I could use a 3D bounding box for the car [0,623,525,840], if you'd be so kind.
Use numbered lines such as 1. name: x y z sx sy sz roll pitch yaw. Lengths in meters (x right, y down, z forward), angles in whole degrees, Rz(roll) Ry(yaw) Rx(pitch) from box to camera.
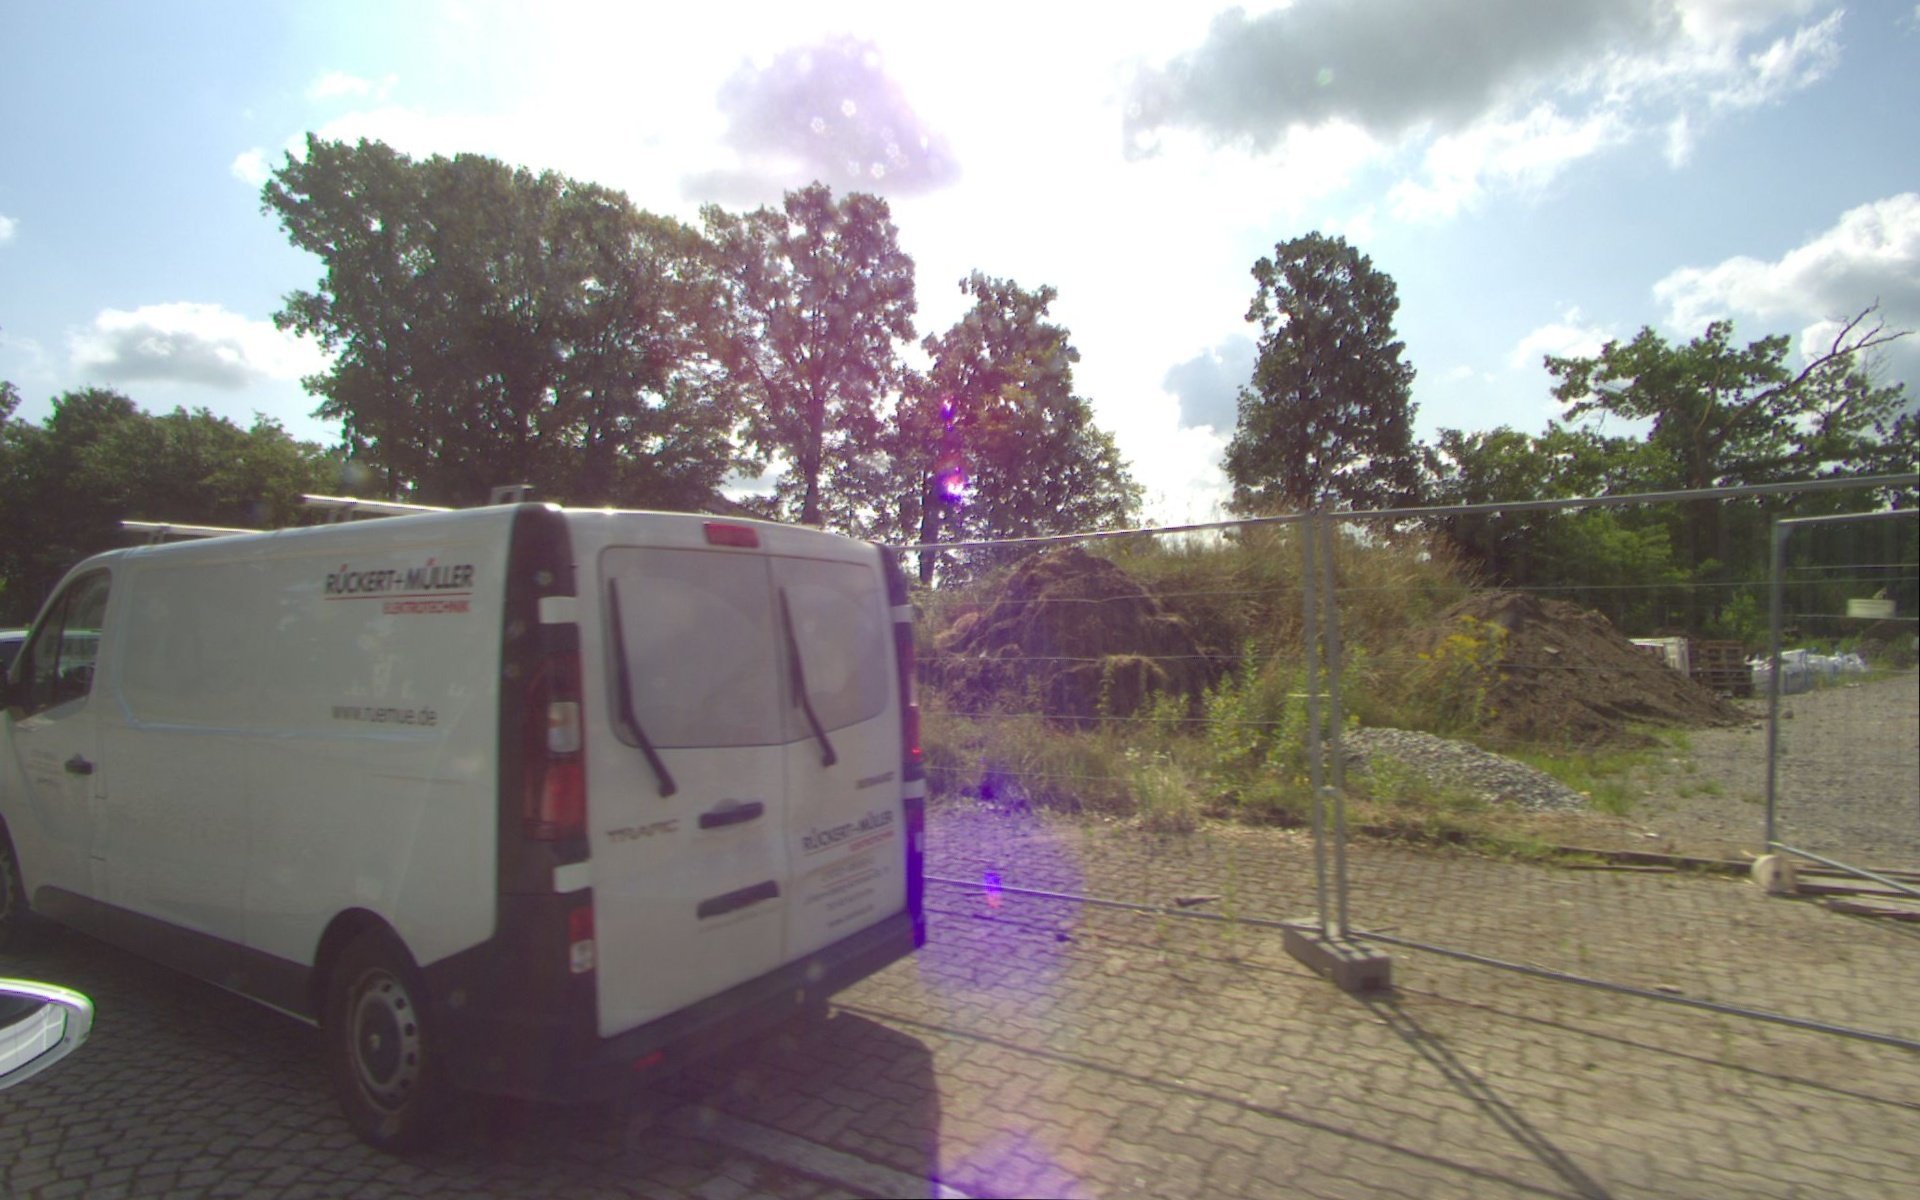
1. car: -6.683 1.026 9.724 1.718 1.494 4.451 -1 0 27

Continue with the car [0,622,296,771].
1. car: -10.558 1.075 12.006 1.720 1.526 3.983 -1 0 28

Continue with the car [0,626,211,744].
1. car: -13.061 1.150 13.810 1.678 1.483 4.038 -1 0 28

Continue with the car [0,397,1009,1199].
1. car: -2.675 0.645 4.611 5.598 2.080 1.910 -1 -1 32

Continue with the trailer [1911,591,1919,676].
1. trailer: 30.548 0.996 30.218 4.786 2.504 1.947 0 -1 -37
